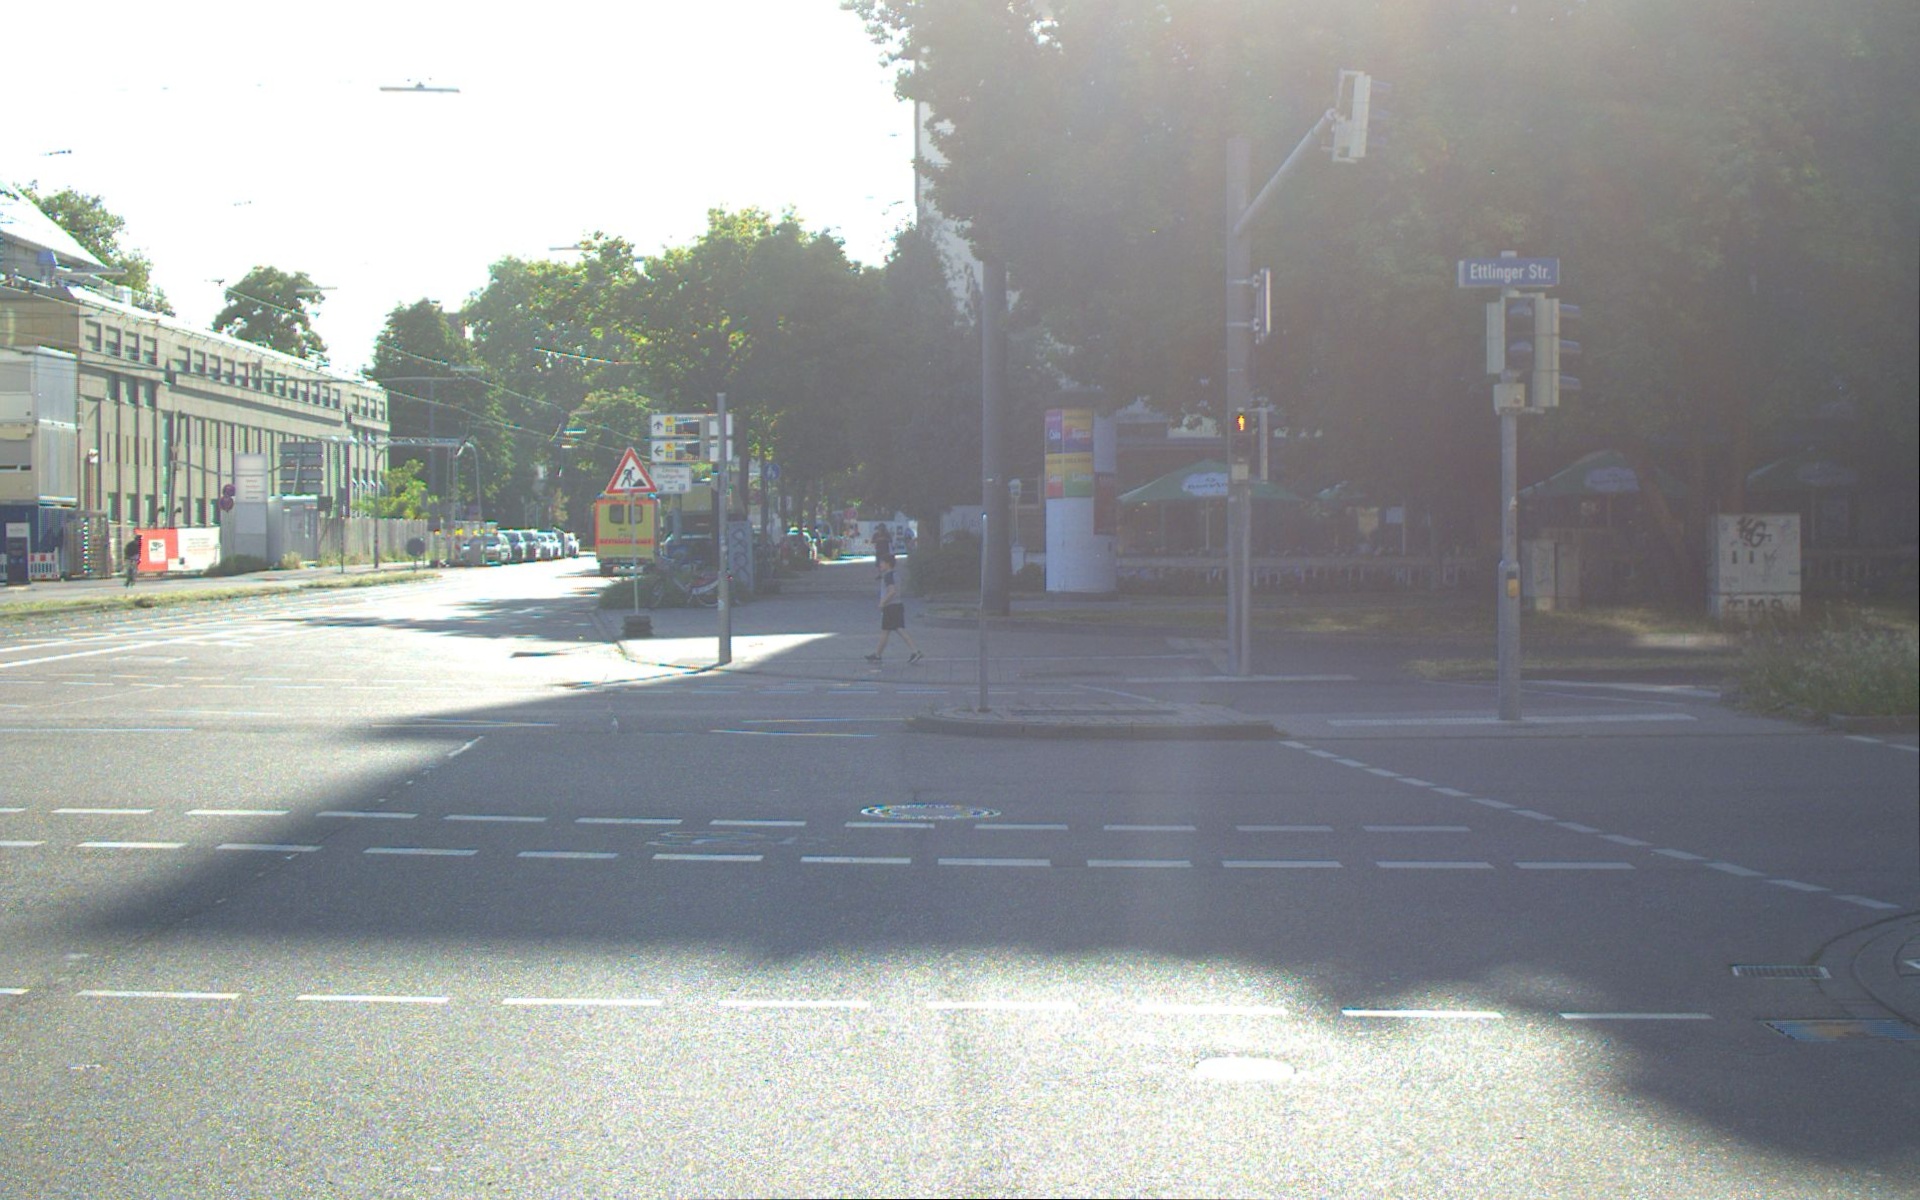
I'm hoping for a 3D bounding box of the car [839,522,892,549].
[{"bbox_3d":[-5.877,-4.000,213.432,3.214,1.583,1.446,1,0,-4],"label":"car"}]

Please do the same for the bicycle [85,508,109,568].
[{"bbox_3d":[-32.704,-2.347,130.227,0.571,2.288,1.422,0,1,-2],"label":"bicycle"}]

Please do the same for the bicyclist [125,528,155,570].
[{"bbox_3d":[-25.905,-1.616,108.592,0.689,1.323,1.000,1,0,-1],"label":"bicyclist"}]

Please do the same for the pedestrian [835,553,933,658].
[{"bbox_3d":[-0.972,0.056,43.833,0.765,1.313,0.996,-1,1,-44],"label":"pedestrian"}]

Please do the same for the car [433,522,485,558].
[{"bbox_3d":[-22.768,-2.735,156.356,1.894,1.601,4.501,-1,1,-2],"label":"car"}]

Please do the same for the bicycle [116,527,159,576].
[{"bbox_3d":[-25.954,-1.525,108.523,0.689,1.506,2.945,1,1,-1],"label":"bicycle"}]

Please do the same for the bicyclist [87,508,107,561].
[{"bbox_3d":[-32.703,-2.481,130.237,0.571,2.017,0.762,0,1,-2],"label":"bicyclist"}]

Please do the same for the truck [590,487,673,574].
[{"bbox_3d":[-11.676,-2.458,122.551,2.716,3.005,6.490,0,1,-3],"label":"truck"}]

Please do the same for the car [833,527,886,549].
[{"bbox_3d":[-6.160,-3.813,211.145,3.217,1.259,1.373,1,0,-1],"label":"car"}]

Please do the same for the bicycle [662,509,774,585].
[{"bbox_3d":[-5.710,-1.246,81.323,2.547,1.737,1.037,1,0,0],"label":"bicycle"}]
